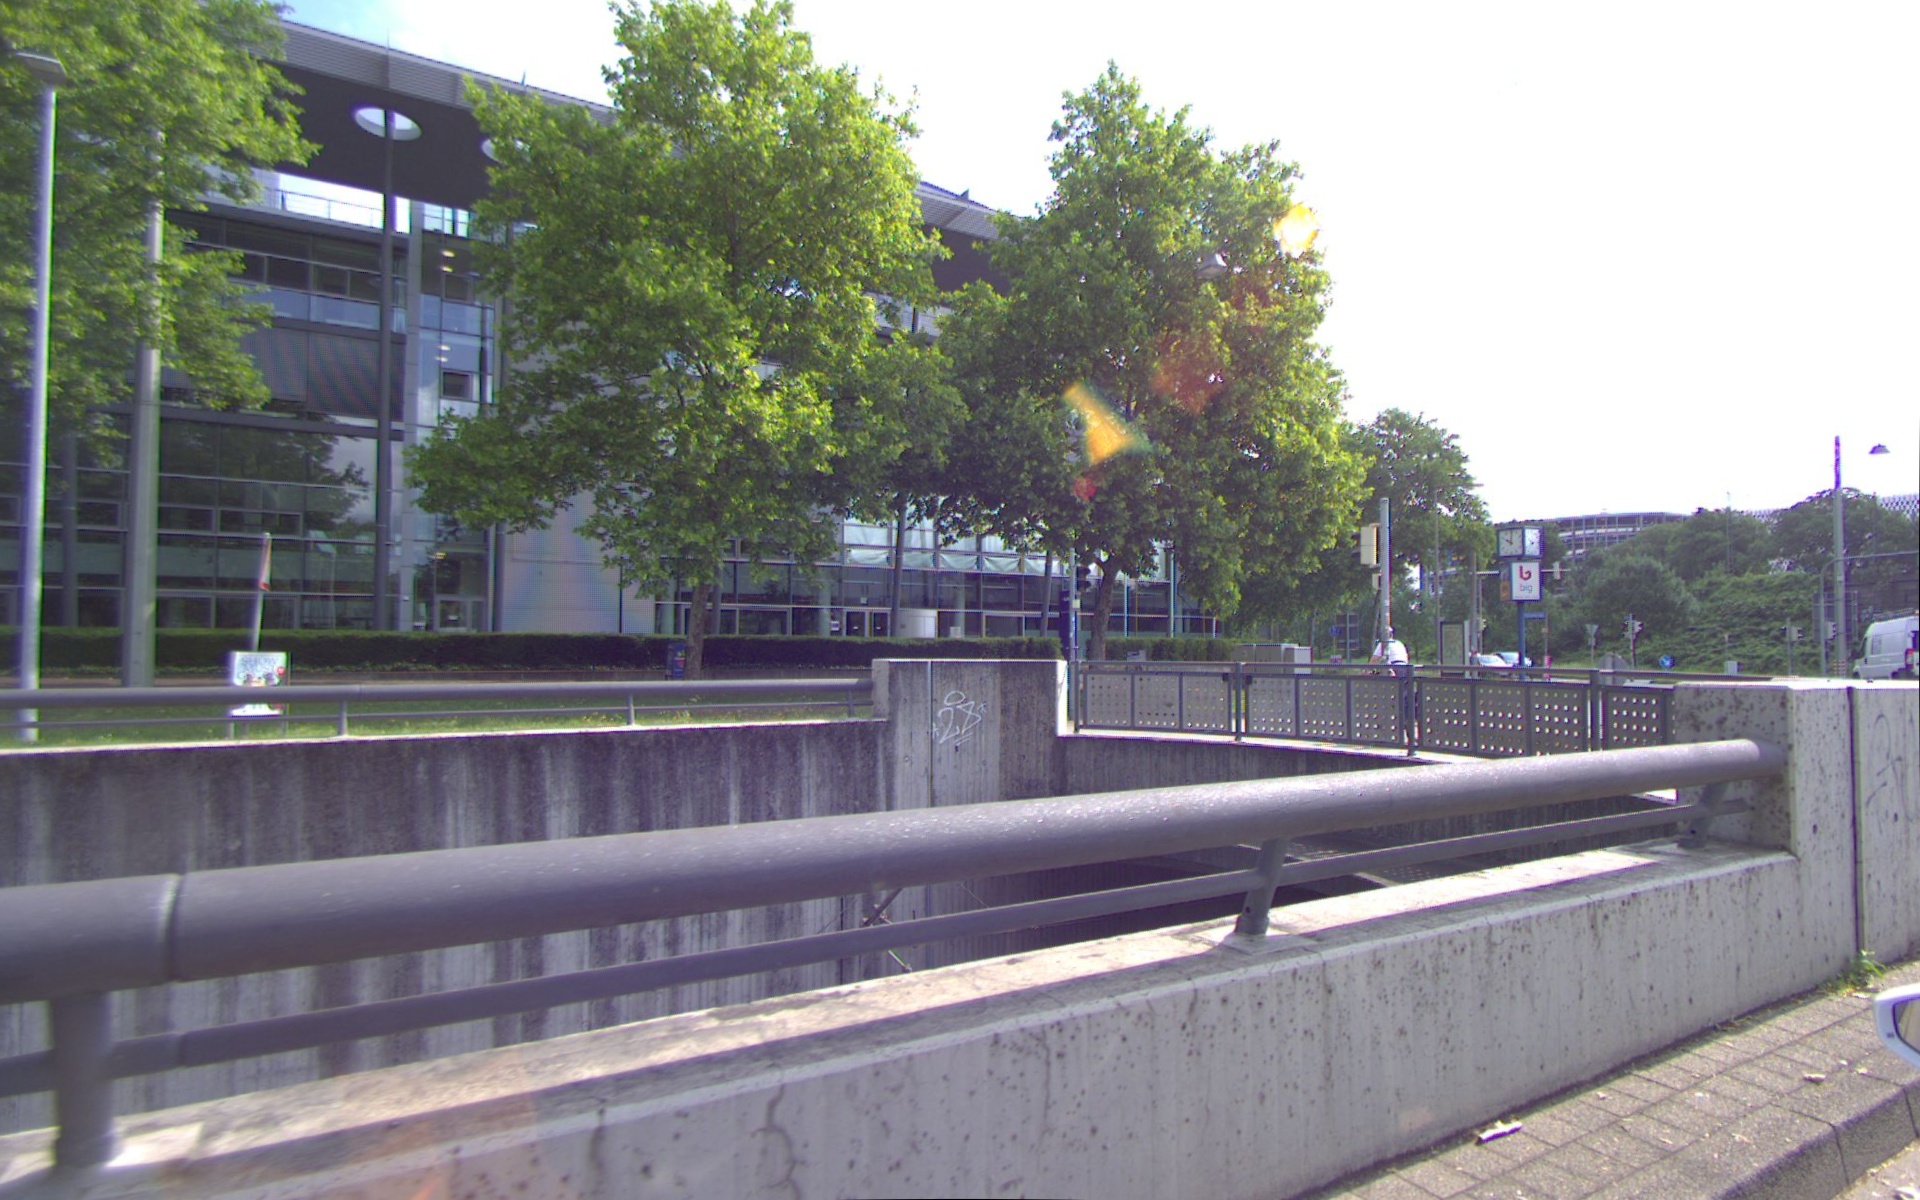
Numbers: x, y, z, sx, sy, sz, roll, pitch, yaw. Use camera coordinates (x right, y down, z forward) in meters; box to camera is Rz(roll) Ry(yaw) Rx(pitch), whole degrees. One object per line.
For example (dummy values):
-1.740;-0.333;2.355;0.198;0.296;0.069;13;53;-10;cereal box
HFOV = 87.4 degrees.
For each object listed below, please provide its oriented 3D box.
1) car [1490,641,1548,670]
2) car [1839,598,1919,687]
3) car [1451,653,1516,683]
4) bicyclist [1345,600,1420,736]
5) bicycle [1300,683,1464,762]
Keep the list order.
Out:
34.779;3.483;62.620;1.678;1.607;4.367;2;-5;7;car
31.477;1.451;33.268;2.163;2.761;4.929;-1;-3;25;car
30.377;3.912;58.424;1.833;1.594;4.572;0;-2;7;car
6.511;1.047;15.495;0.598;2.039;0.724;0;-5;-36;bicyclist
6.431;1.836;15.426;0.878;1.100;2.160;2;-5;-36;bicycle
